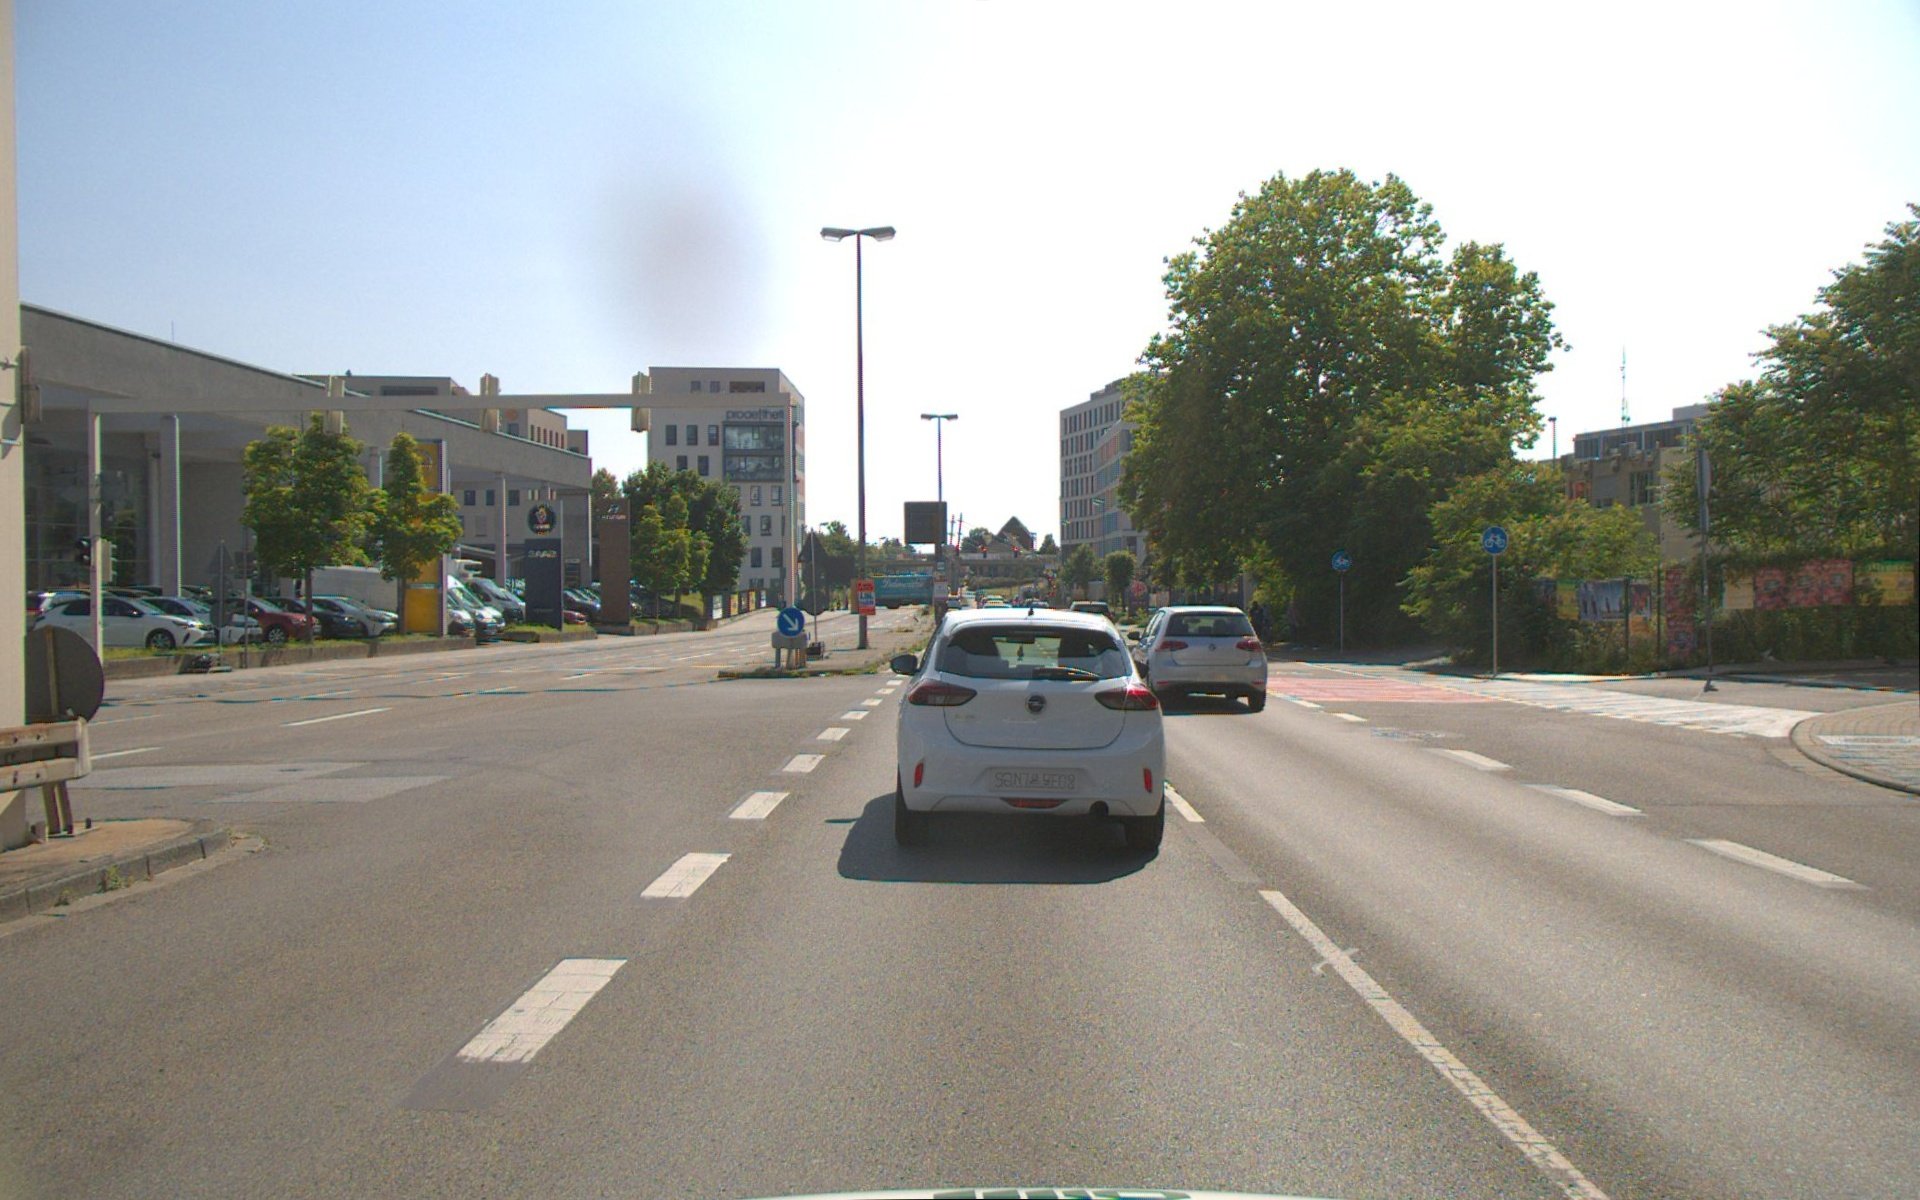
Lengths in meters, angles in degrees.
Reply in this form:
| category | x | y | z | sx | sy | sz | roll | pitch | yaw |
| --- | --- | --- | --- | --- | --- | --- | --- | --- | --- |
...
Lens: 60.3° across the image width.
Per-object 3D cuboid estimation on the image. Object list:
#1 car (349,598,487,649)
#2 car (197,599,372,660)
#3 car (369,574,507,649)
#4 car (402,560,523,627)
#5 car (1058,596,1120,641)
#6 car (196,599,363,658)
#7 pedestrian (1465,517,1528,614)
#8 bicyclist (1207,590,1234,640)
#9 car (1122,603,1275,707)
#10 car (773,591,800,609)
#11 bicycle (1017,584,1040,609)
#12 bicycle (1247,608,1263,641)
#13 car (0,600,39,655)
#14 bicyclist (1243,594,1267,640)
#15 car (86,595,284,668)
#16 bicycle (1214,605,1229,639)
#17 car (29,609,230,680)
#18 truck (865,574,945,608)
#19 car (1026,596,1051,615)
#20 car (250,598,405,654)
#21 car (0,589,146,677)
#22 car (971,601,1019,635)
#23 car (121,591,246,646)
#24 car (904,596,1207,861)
| category | x | y | z | sx | sy | sz | roll | pitch | yaw |
| --- | --- | --- | --- | --- | --- | --- | --- | --- | --- |
| car | -19.451 | 0.832 | 59.471 | 4.264 | 1.726 | 2.001 | -1 | 0 | 5 |
| car | -19.660 | 0.843 | 48.275 | 4.269 | 1.726 | 1.999 | 0 | 0 | -2 |
| car | -19.479 | 0.426 | 61.838 | 4.401 | 2.731 | 2.130 | -1 | 0 | 9 |
| car | -20.189 | -0.274 | 67.245 | 4.264 | 2.646 | 2.001 | -1 | 0 | 5 |
| car | 4.758 | 0.659 | 61.468 | 1.953 | 1.578 | 4.433 | -1 | 0 | 0 |
| car | -20.719 | 0.845 | 50.509 | 4.269 | 1.726 | 1.999 | -1 | 0 | -2 |
| pedestrian | 11.524 | -0.737 | 35.575 | 1.006 | 2.049 | 1.038 | 0 | 0 | 0 |
| bicyclist | 9.592 | 0.551 | 60.931 | 0.861 | 1.803 | 0.864 | 0 | 0 | 0 |
| car | 3.553 | 0.788 | 25.311 | 1.770 | 1.454 | 4.000 | -1 | -1 | 0 |
| car | -14.294 | 0.033 | 136.222 | 1.769 | 1.410 | 4.000 | 1 | -1 | 0 |
| bicycle | 6.154 | -0.322 | 149.543 | 1.952 | 2.195 | 4.000 | 0 | 0 | 0 |
| bicycle | 10.781 | 0.889 | 60.415 | 0.366 | 1.167 | 1.034 | 1 | -1 | -1 |
| car | -25.094 | 0.727 | 40.163 | 4.274 | 1.290 | 1.996 | -2 | -2 | -8 |
| bicyclist | 10.773 | 0.629 | 60.442 | 0.675 | 1.672 | 0.775 | 0 | 0 | -8 |
| car | -20.149 | 0.801 | 43.142 | 4.210 | 1.796 | 1.999 | -1 | 0 | -2 |
| bicycle | 9.637 | 0.809 | 60.900 | 0.365 | 1.238 | 1.154 | 1 | 0 | 1 |
| car | -20.261 | 1.063 | 40.500 | 3.910 | 1.627 | 1.997 | -1 | 0 | -7 |
| truck | -6.494 | -1.068 | 196.028 | 8.932 | 3.902 | 3.061 | -1 | 0 | -22 |
| car | 6.112 | 0.467 | 129.219 | 1.769 | 1.410 | 4.000 | 1 | -1 | 0 |
| car | -20.489 | 0.833 | 53.710 | 4.269 | 1.726 | 1.999 | -1 | 0 | -2 |
| car | -20.275 | 0.742 | 36.316 | 3.792 | 1.870 | 1.999 | -1 | -2 | -2 |
| car | 1.529 | 0.787 | 73.593 | 1.953 | 1.472 | 4.370 | 0 | 0 | -1 |
| car | -30.500 | 0.744 | 65.053 | 3.908 | 2.049 | 1.998 | 1 | -1 | -4 |
| car | 0.563 | 0.745 | 11.584 | 1.743 | 1.520 | 4.000 | -1 | 0 | 0 |
